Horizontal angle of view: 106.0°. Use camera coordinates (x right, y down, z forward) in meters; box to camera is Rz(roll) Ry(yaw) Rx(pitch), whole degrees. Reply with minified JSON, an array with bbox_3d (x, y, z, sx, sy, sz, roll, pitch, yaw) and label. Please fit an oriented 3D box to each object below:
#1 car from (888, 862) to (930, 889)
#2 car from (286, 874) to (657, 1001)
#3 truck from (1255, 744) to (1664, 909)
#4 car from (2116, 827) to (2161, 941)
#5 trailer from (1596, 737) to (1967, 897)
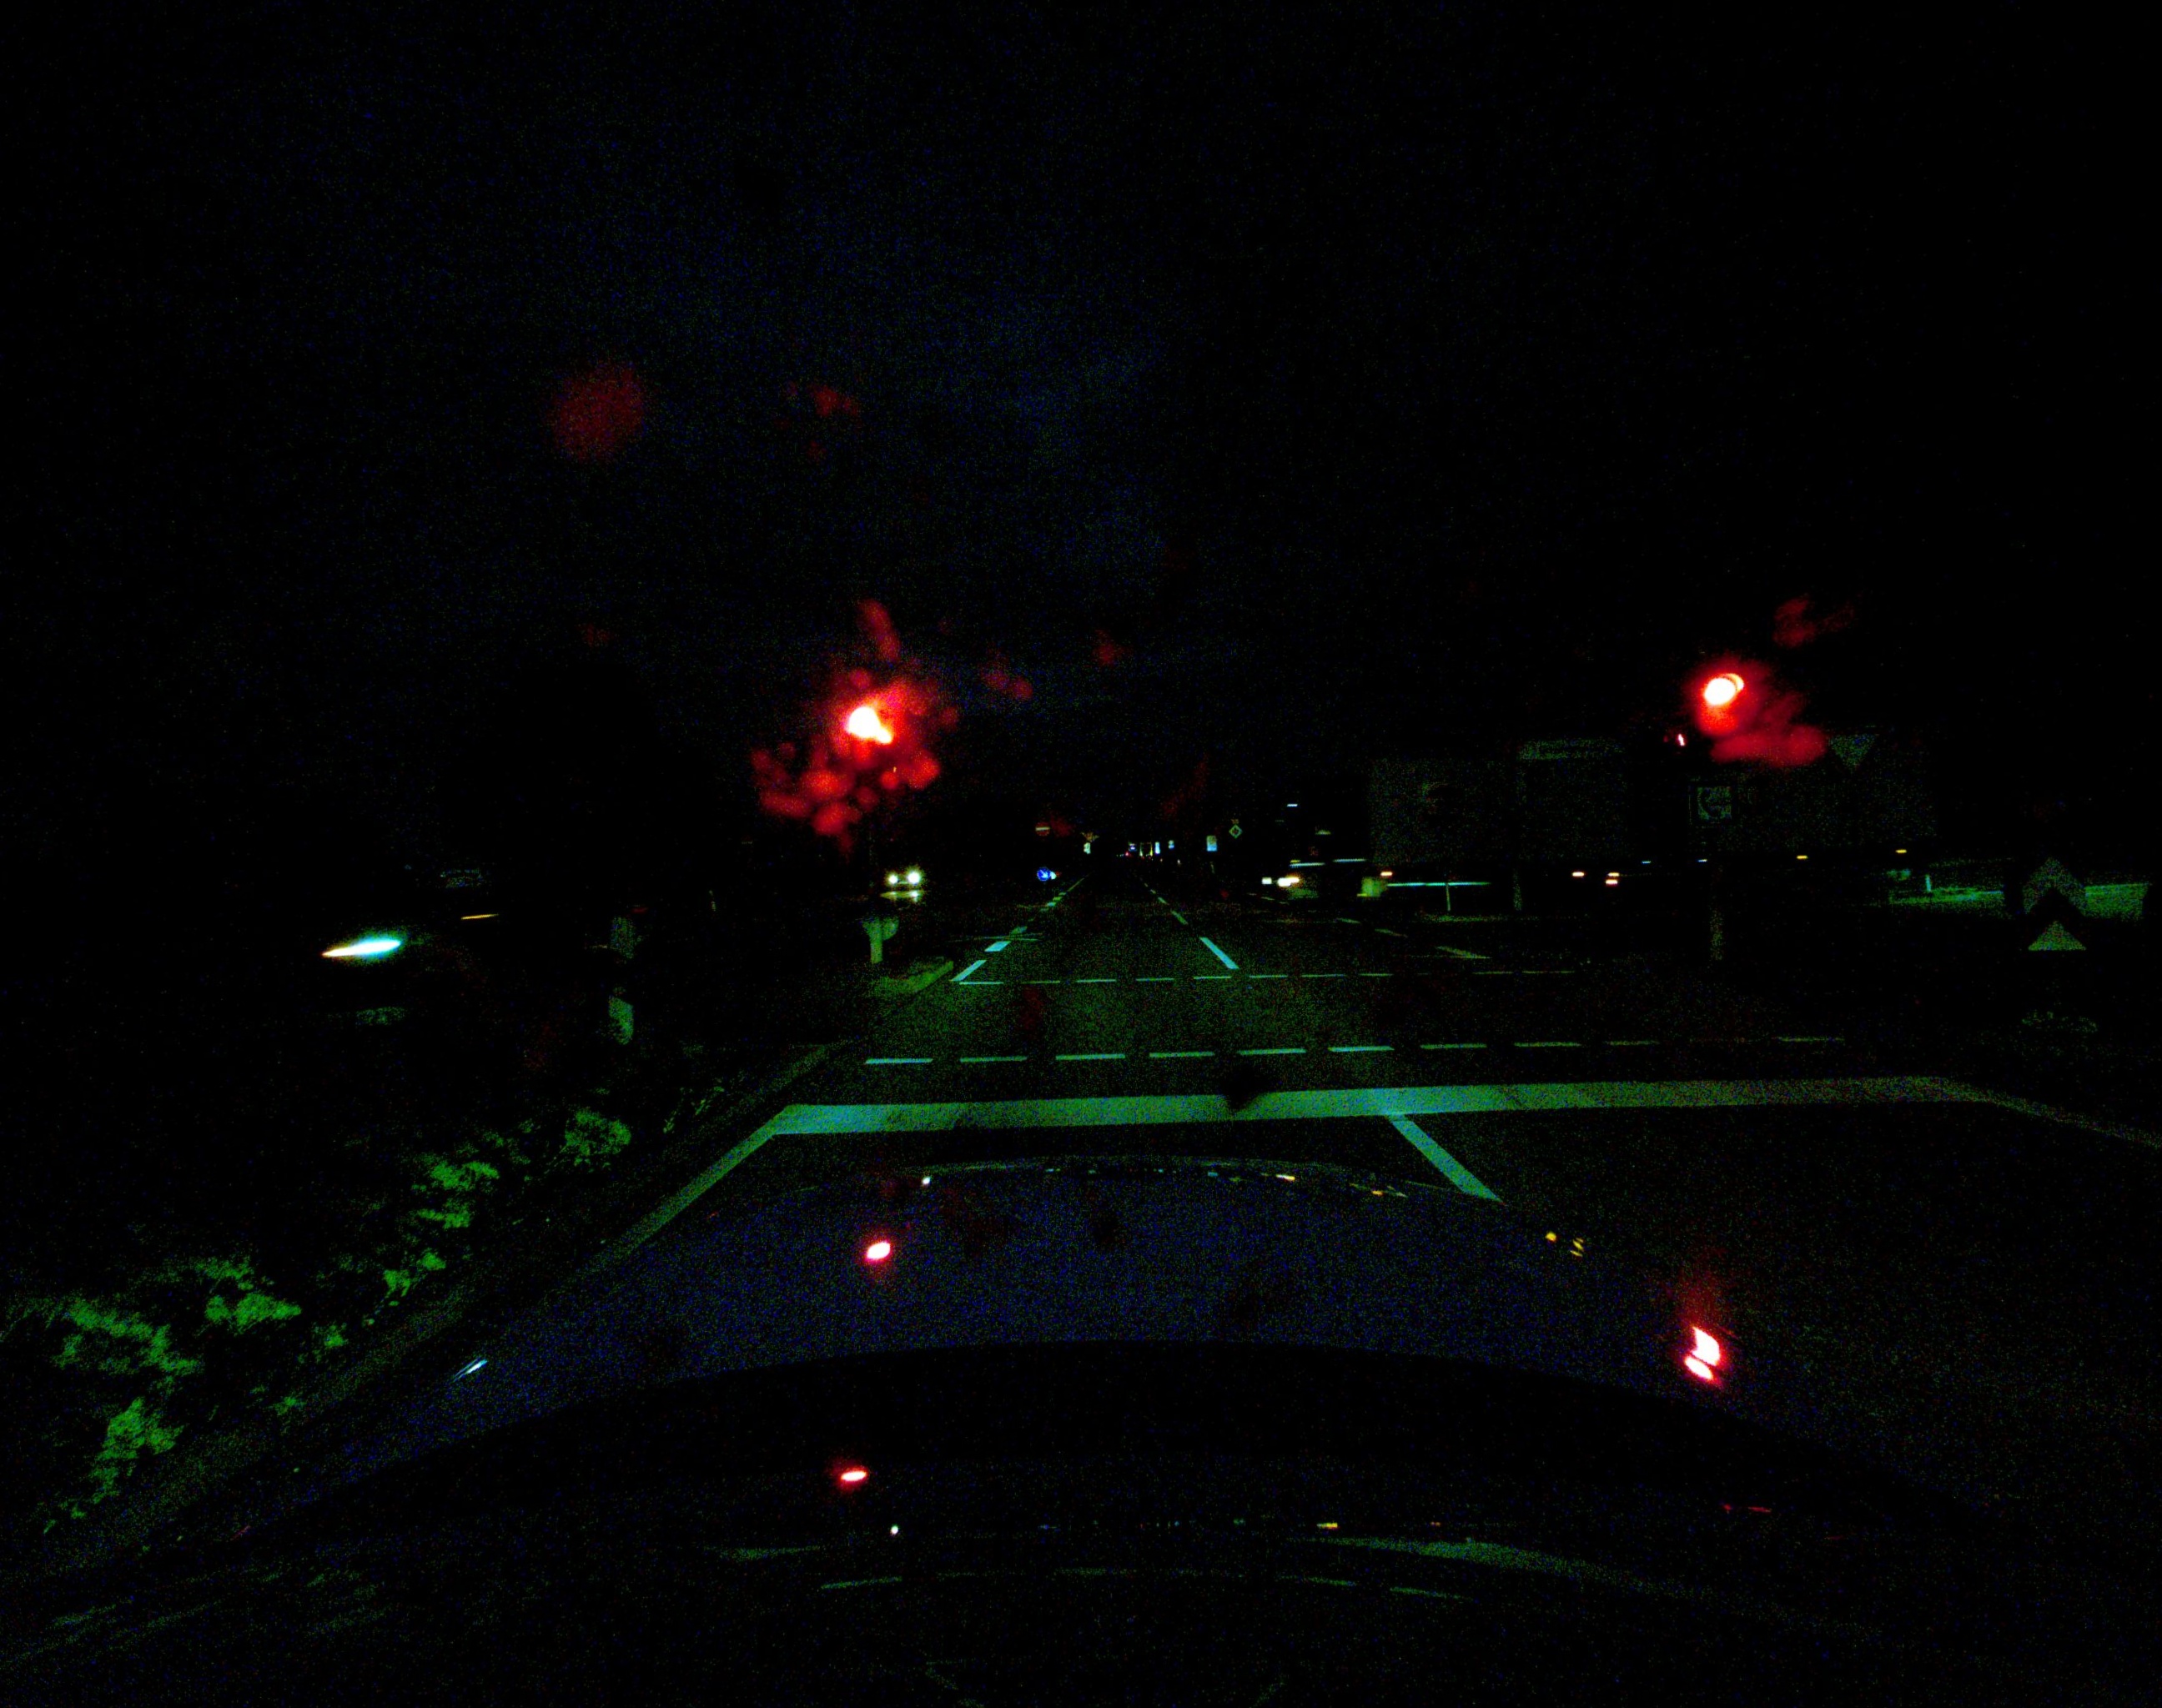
[{"bbox_3d":[-10.727,1.302,50.900,1.622,1.376,3.591,-6,0,2],"label":"car"},{"bbox_3d":[-9.689,1.225,13.466,1.613,1.505,4.618,-3,0,26],"label":"car"},{"bbox_3d":[10.405,-0.744,23.082,10.282,4.117,2.733,-2,-1,-1],"label":"truck"},{"bbox_3d":[14.263,0.412,9.378,1.785,1.442,4.026,-4,0,36],"label":"car"},{"bbox_3d":[19.980,-1.038,23.474,8.834,3.943,2.581,-3,0,-5],"label":"trailer"}]
